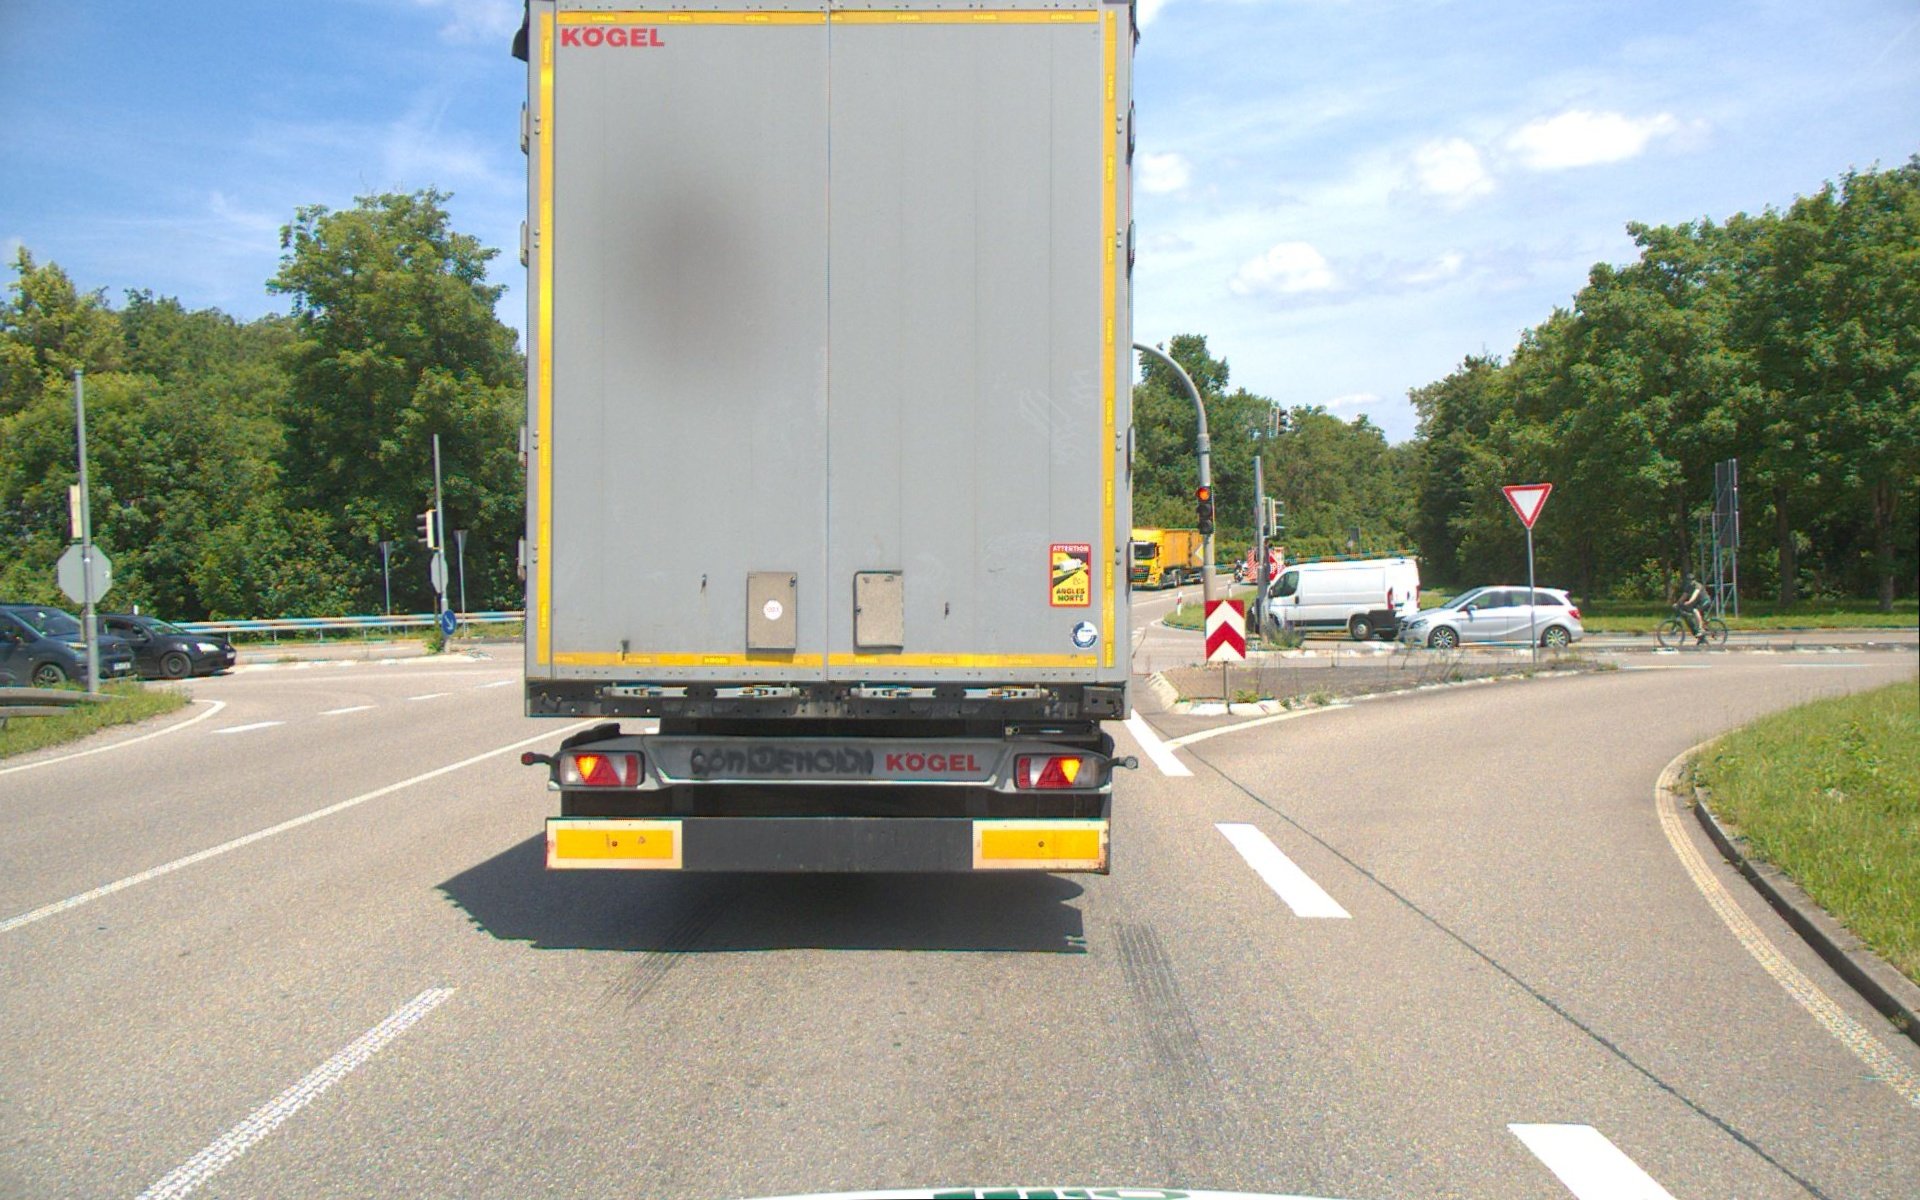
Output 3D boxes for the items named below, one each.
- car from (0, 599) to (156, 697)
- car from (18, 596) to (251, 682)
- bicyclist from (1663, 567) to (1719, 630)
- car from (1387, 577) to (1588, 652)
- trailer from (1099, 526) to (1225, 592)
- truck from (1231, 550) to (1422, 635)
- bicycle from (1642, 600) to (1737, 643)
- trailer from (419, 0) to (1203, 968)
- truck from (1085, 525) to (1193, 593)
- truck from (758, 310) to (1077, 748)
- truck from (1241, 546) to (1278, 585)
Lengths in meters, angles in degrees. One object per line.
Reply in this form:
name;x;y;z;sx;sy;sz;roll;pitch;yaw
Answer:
car;-18.093;0.919;32.011;4.143;1.801;2.002;-1;-1;9
car;-17.990;0.843;36.146;4.143;1.801;2.002;-1;-1;9
bicyclist;17.651;-0.033;39.937;0.985;1.474;0.795;1;-2;-3
car;12.789;0.370;40.308;4.334;1.749;2.001;0;-2;4
trailer;15.311;-3.011;122.606;4.907;4.438;20.845;0;1;19
truck;10.598;-0.163;48.010;5.061;2.336;1.991;-1;-2;38
bicycle;17.599;0.521;39.920;1.949;1.013;0.796;1;-2;-4
trailer;-0.458;-0.666;12.621;2.988;4.104;12.560;0;0;1
truck;12.575;-2.799;114.865;4.907;4.438;11.769;0;1;19
truck;-0.339;-0.676;18.878;2.975;4.104;6.630;0;0;1
truck;22.241;-2.501;122.601;2.440;2.775;6.036;0;0;13
